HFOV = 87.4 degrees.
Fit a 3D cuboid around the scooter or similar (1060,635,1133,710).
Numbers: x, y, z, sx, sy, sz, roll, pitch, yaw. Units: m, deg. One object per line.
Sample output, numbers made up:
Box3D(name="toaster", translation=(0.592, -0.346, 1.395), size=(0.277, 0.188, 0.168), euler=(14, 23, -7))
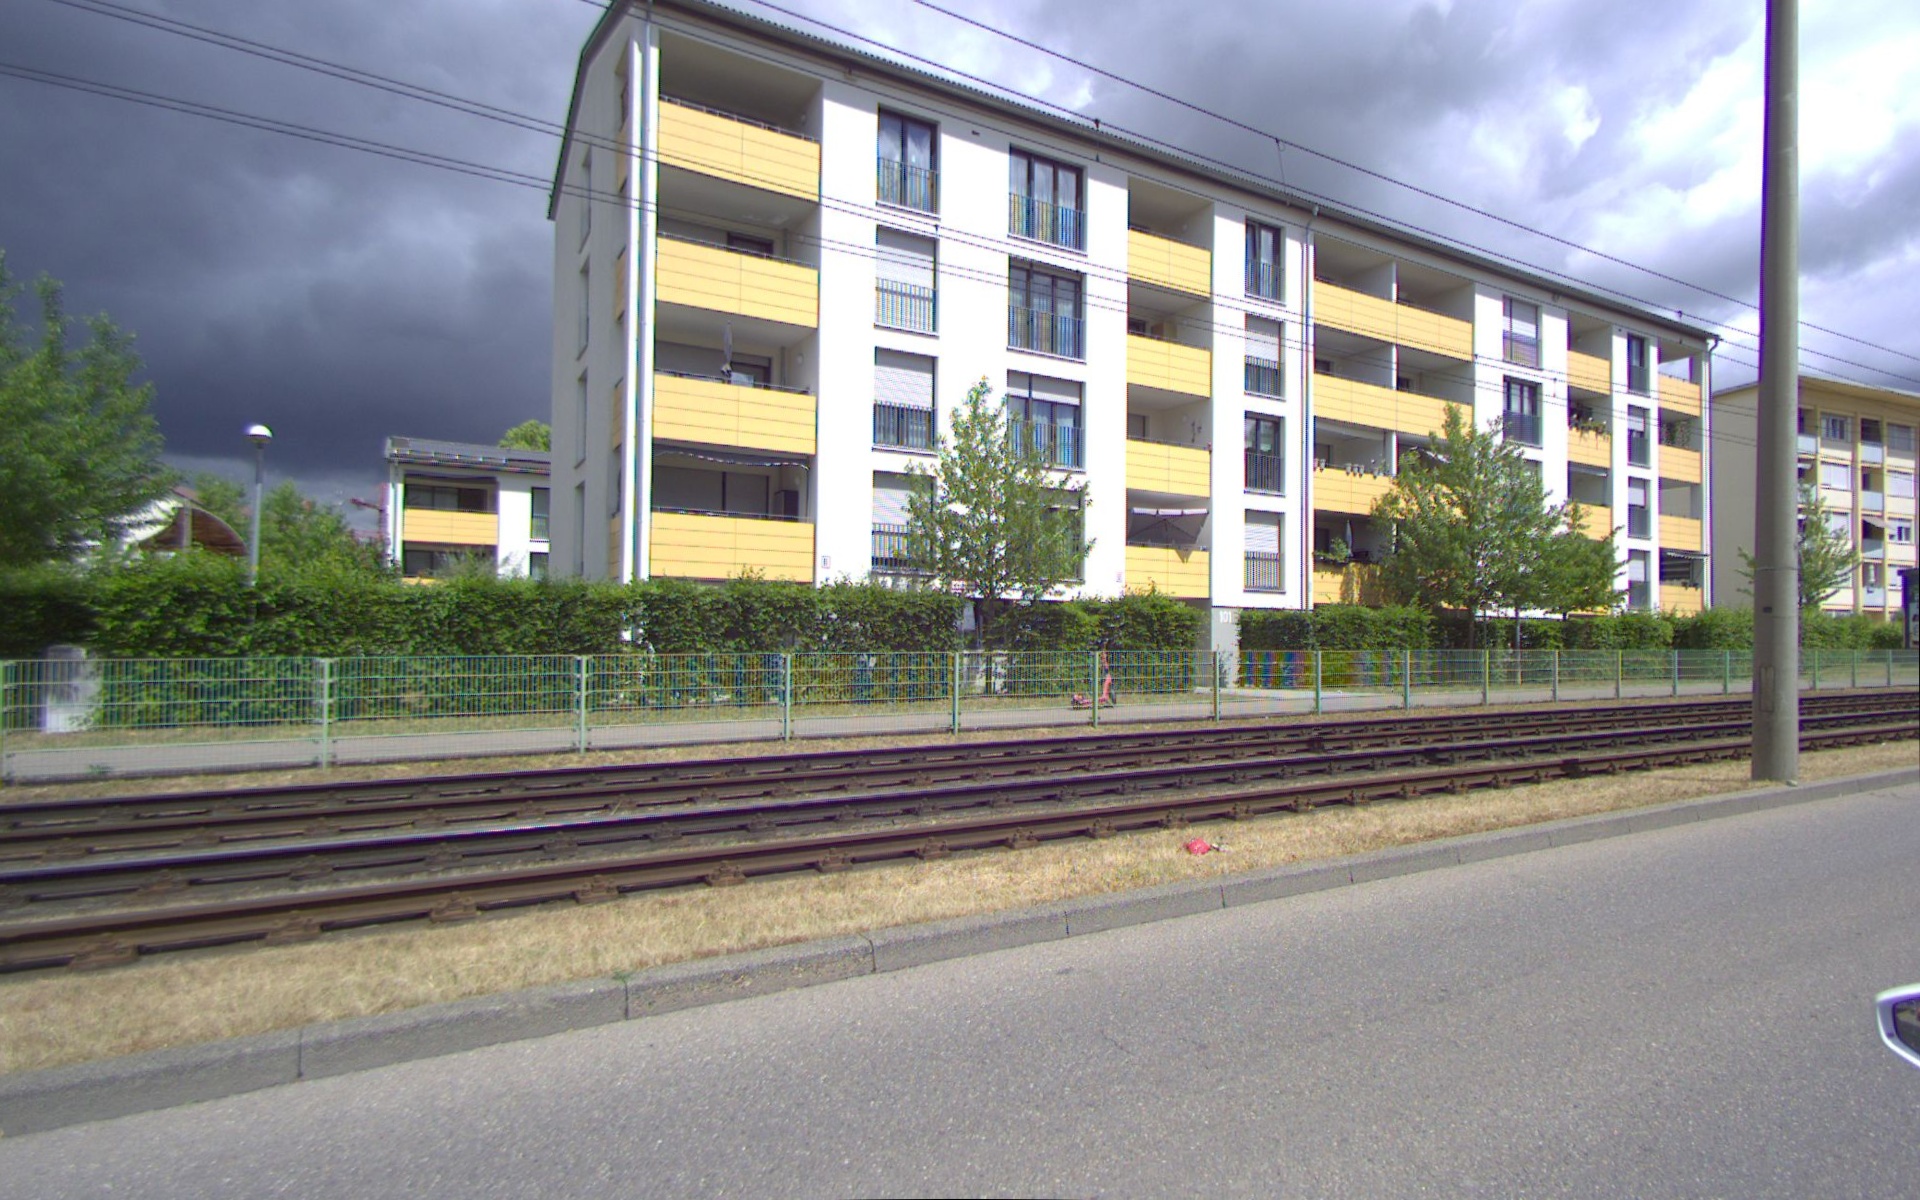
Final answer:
Box3D(name="scooter or similar", translation=(2.472, 1.289, 18.126), size=(1.286, 1.310, 0.488), euler=(1, -1, -30))
